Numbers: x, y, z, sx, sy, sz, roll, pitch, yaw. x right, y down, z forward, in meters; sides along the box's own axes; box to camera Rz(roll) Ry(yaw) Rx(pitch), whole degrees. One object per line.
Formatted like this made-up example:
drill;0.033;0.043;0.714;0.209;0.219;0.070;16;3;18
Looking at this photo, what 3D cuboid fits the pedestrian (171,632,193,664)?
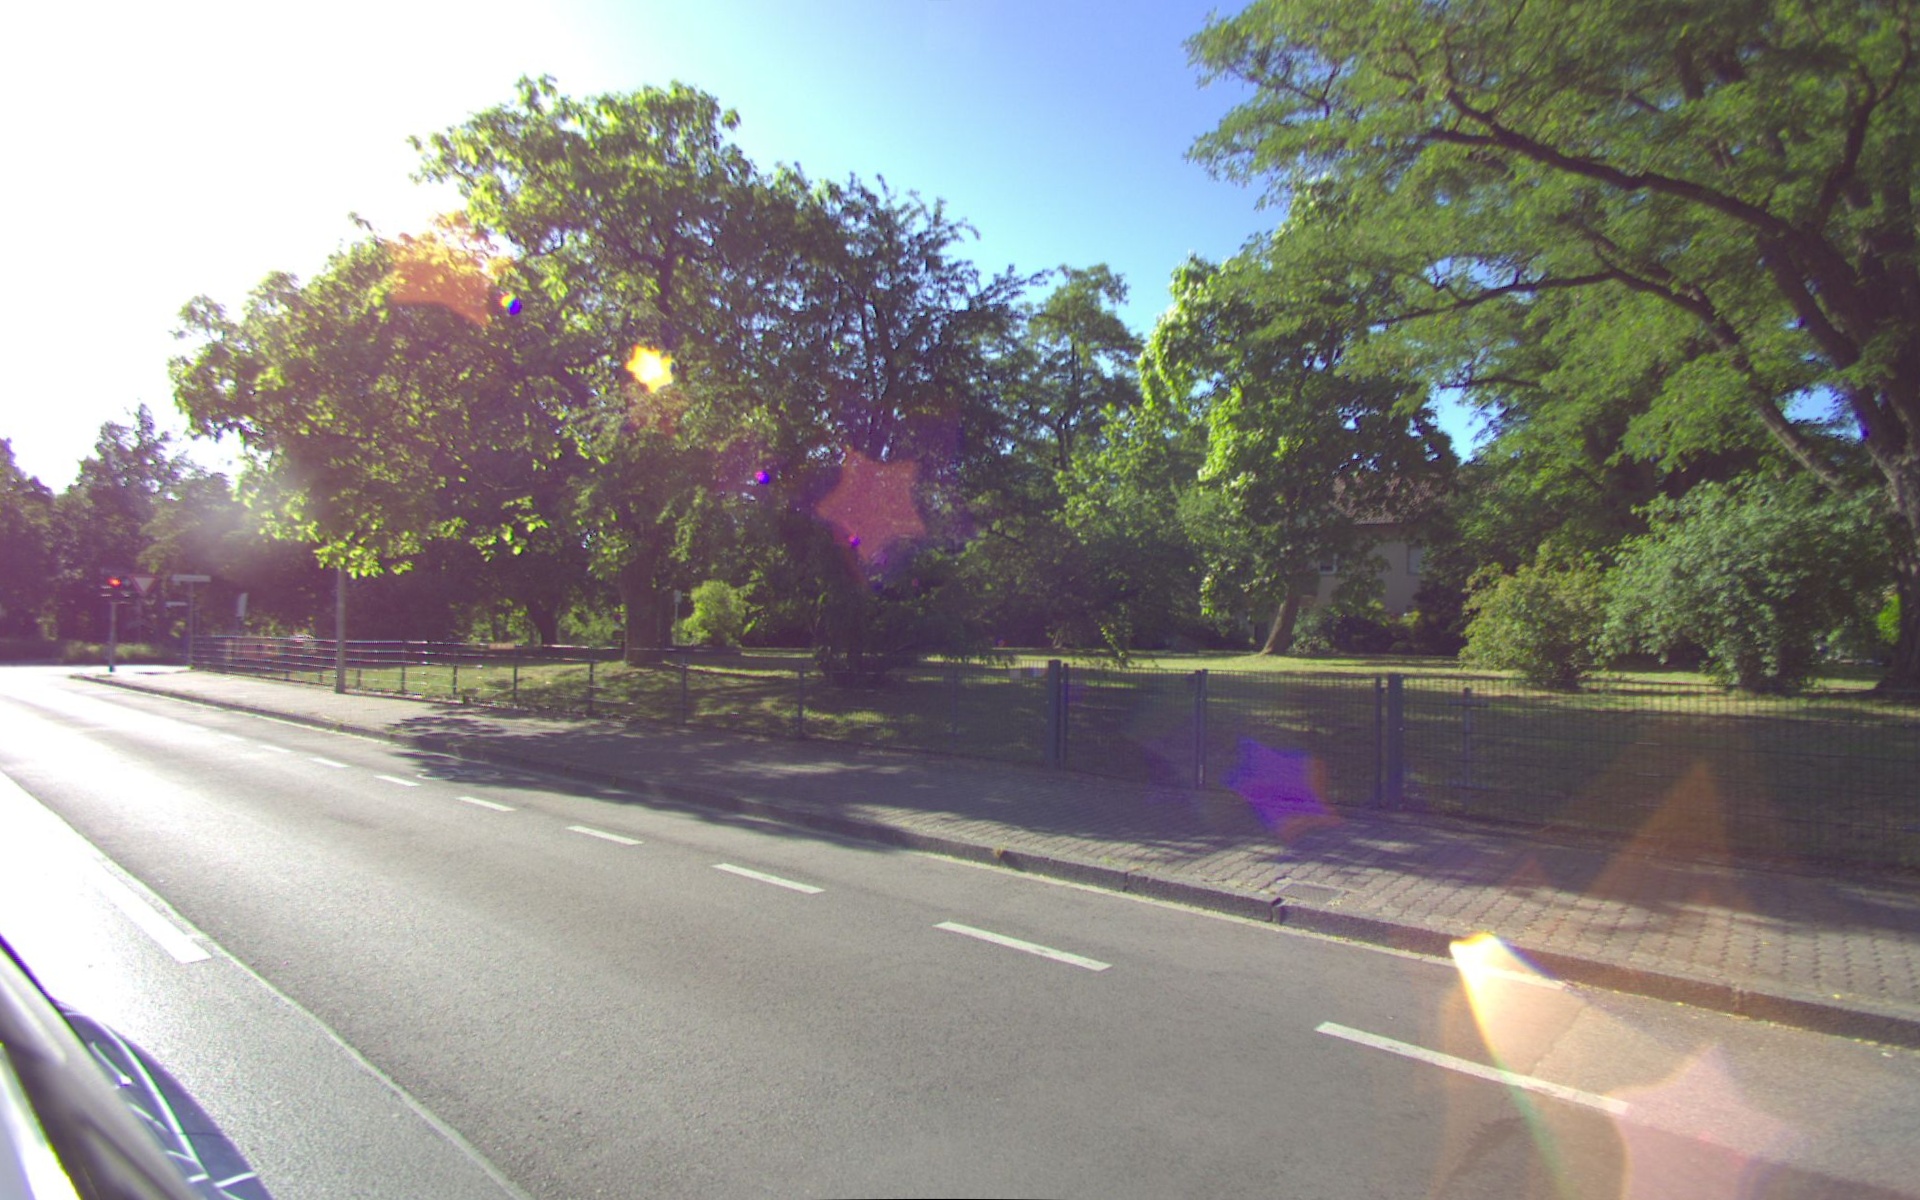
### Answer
pedestrian;-40.074;2.464;52.150;0.647;1.646;0.790;-3;-2;41
